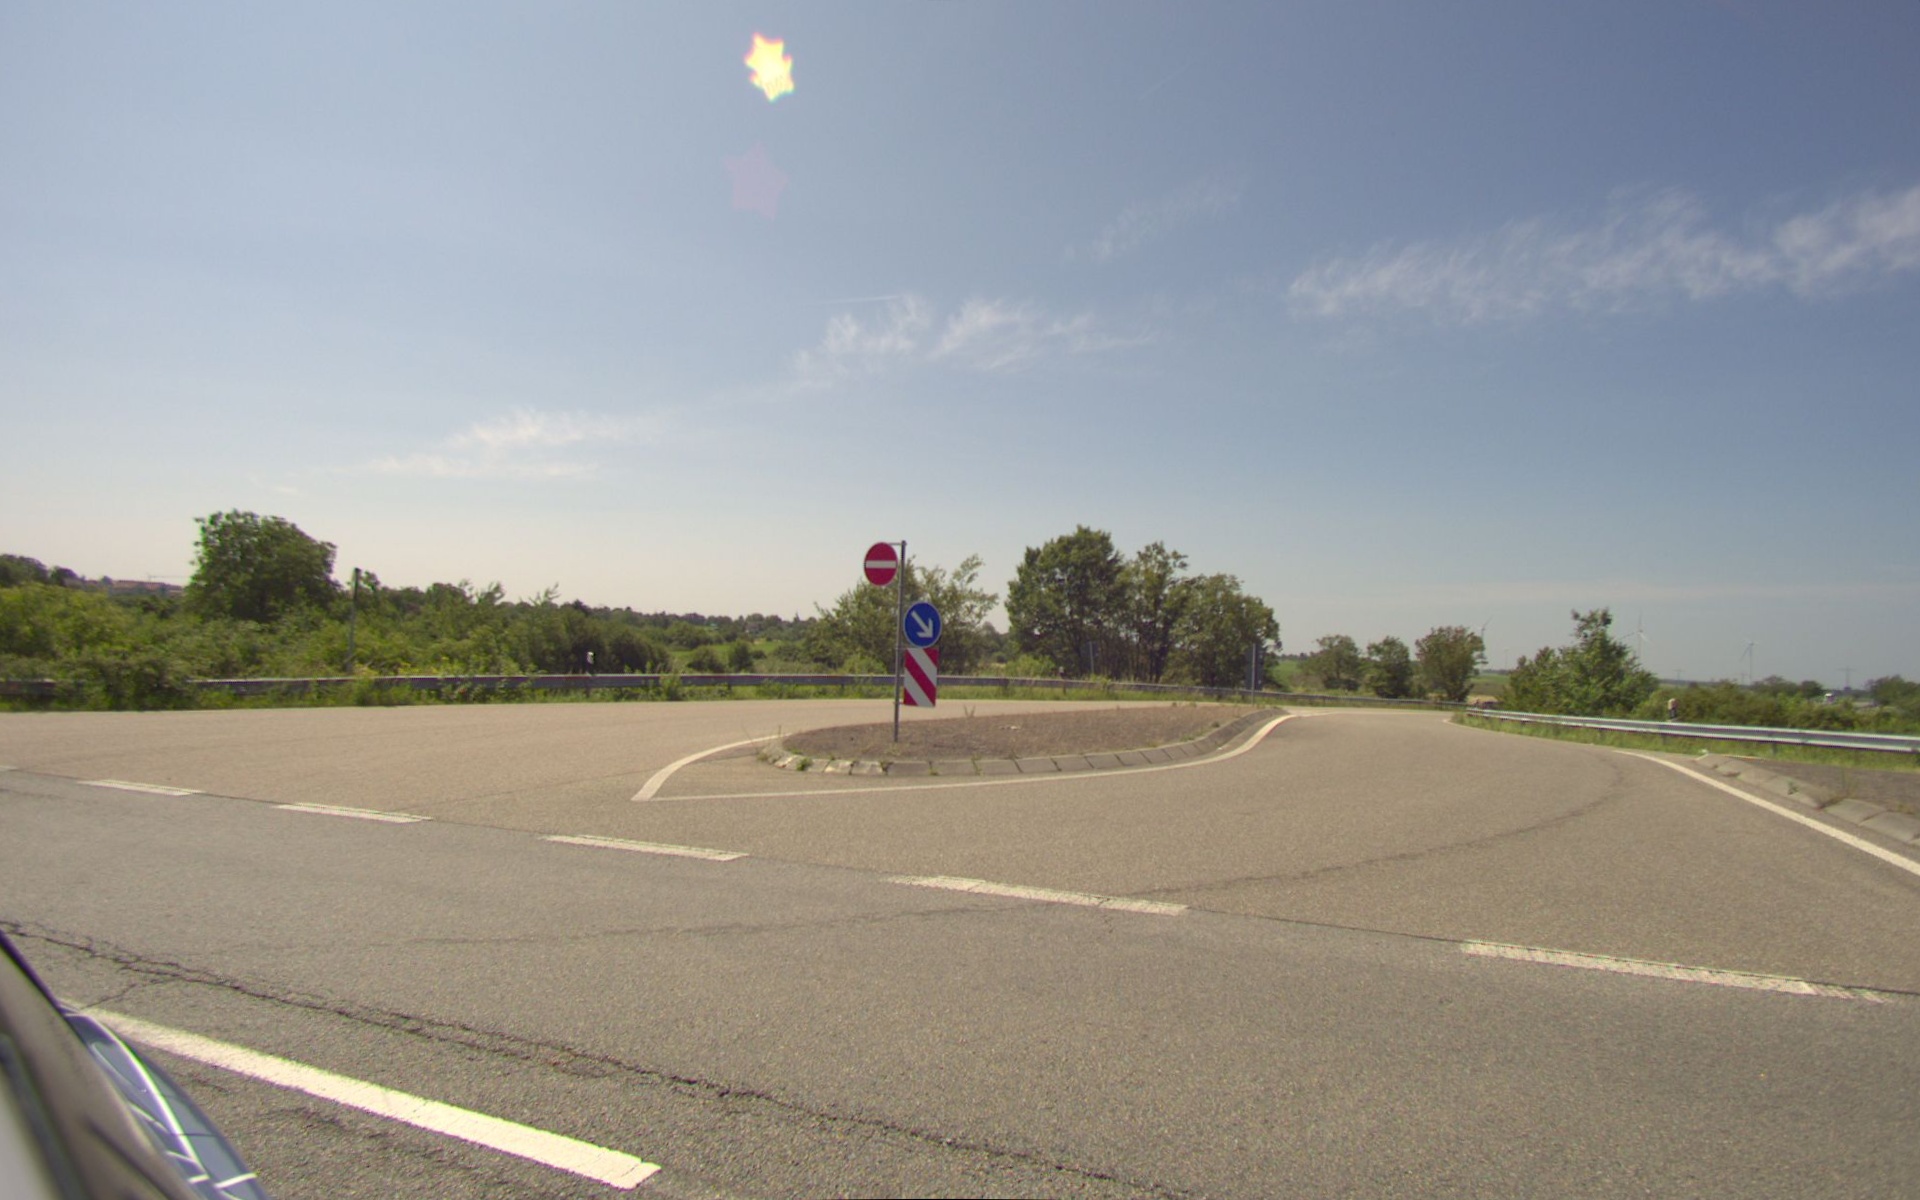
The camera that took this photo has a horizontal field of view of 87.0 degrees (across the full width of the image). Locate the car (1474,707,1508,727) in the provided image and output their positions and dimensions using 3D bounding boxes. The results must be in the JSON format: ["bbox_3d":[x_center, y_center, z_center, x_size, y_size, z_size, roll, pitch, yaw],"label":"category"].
[{"bbox_3d":[43.360,9.574,82.602,1.712,1.406,3.836,1,-6,39],"label":"car"}]
